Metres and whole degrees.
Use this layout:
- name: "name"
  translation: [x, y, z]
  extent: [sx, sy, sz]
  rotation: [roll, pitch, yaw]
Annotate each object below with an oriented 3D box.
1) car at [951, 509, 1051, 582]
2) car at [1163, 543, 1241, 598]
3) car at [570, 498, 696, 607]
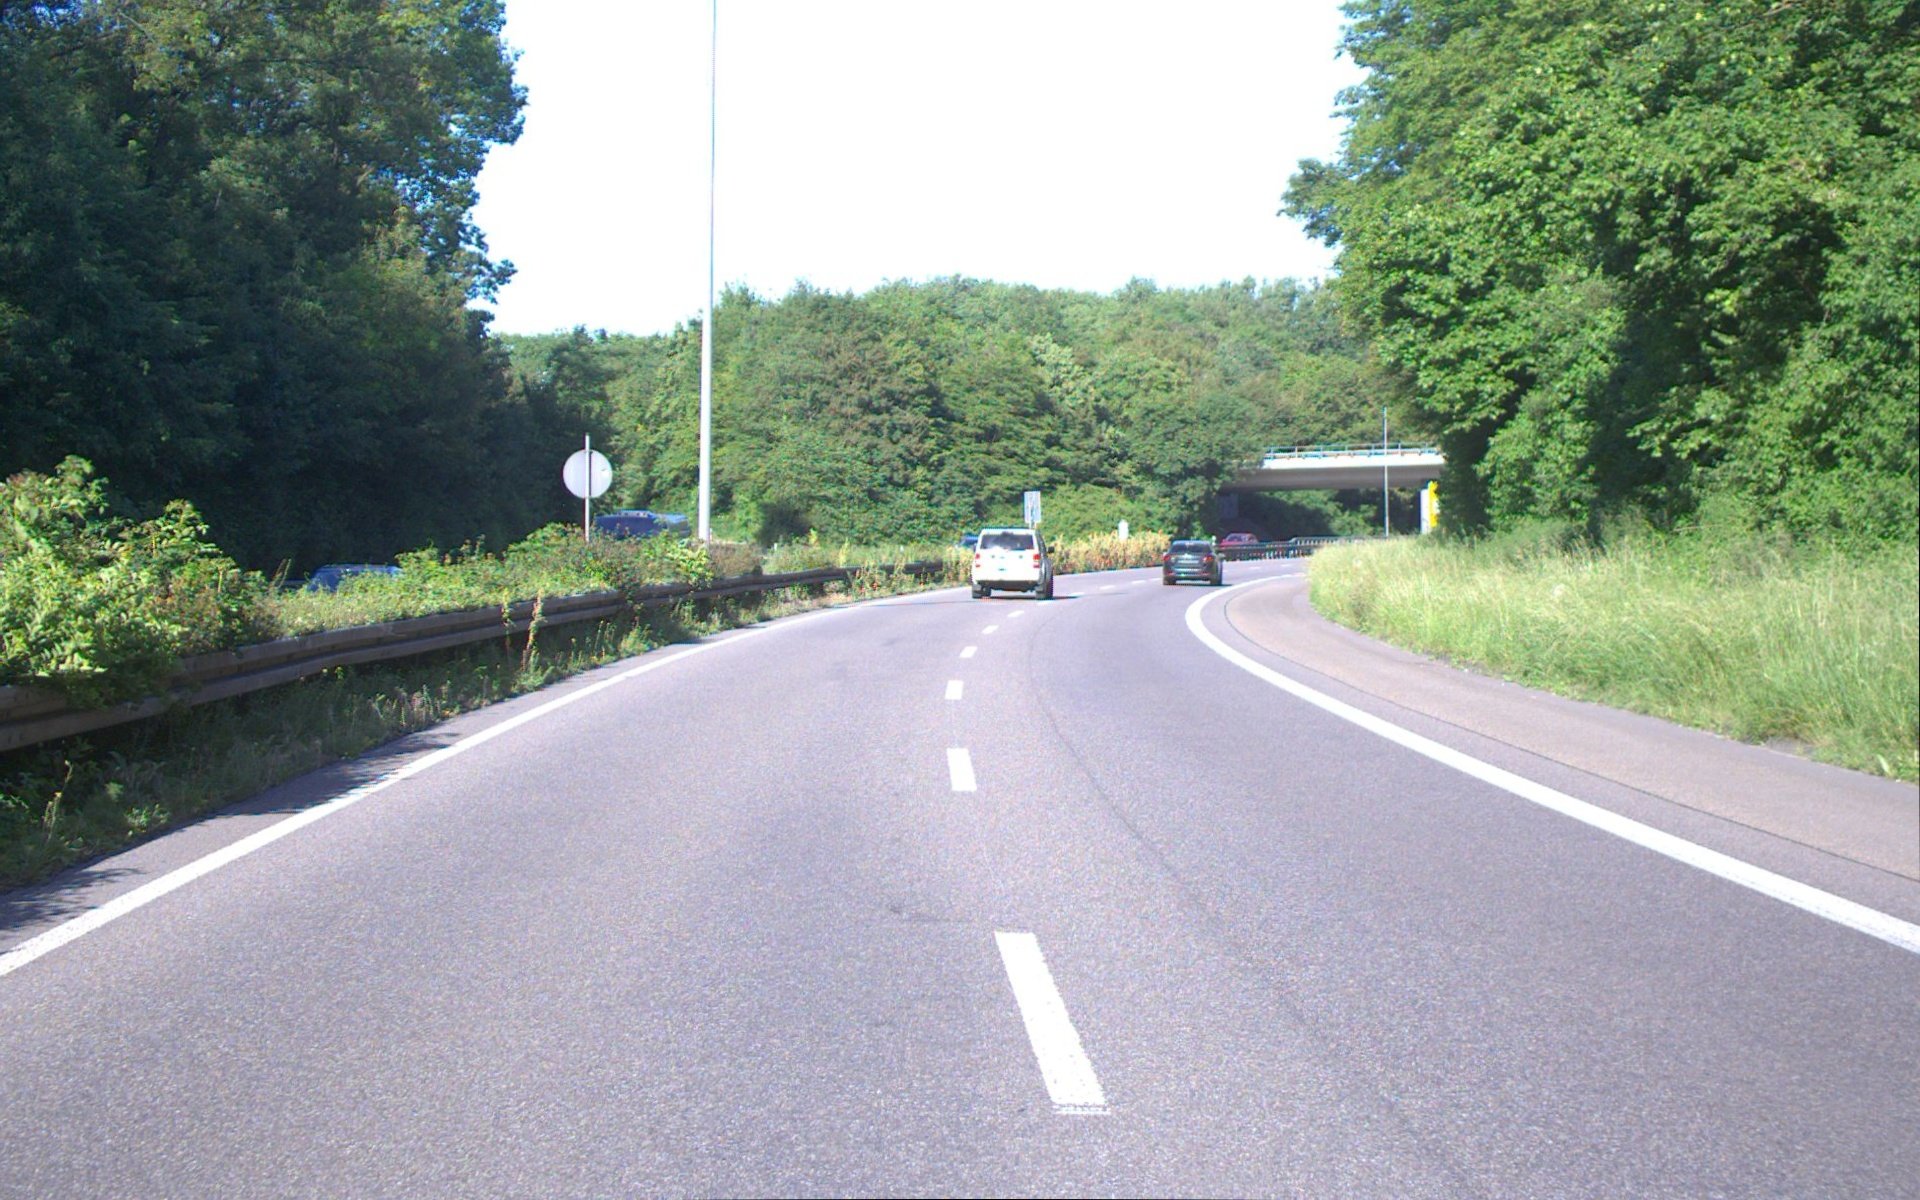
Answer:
- name: "car"
  translation: [1.005, -1.371, 87.247]
  extent: [1.951, 1.776, 4.589]
  rotation: [1, 1, -7]
- name: "car"
  translation: [8.069, -0.991, 114.115]
  extent: [1.952, 1.776, 4.585]
  rotation: [1, 1, 12]
- name: "car"
  translation: [-8.017, -1.197, 84.813]
  extent: [2.075, 2.565, 5.784]
  rotation: [1, 1, 5]
